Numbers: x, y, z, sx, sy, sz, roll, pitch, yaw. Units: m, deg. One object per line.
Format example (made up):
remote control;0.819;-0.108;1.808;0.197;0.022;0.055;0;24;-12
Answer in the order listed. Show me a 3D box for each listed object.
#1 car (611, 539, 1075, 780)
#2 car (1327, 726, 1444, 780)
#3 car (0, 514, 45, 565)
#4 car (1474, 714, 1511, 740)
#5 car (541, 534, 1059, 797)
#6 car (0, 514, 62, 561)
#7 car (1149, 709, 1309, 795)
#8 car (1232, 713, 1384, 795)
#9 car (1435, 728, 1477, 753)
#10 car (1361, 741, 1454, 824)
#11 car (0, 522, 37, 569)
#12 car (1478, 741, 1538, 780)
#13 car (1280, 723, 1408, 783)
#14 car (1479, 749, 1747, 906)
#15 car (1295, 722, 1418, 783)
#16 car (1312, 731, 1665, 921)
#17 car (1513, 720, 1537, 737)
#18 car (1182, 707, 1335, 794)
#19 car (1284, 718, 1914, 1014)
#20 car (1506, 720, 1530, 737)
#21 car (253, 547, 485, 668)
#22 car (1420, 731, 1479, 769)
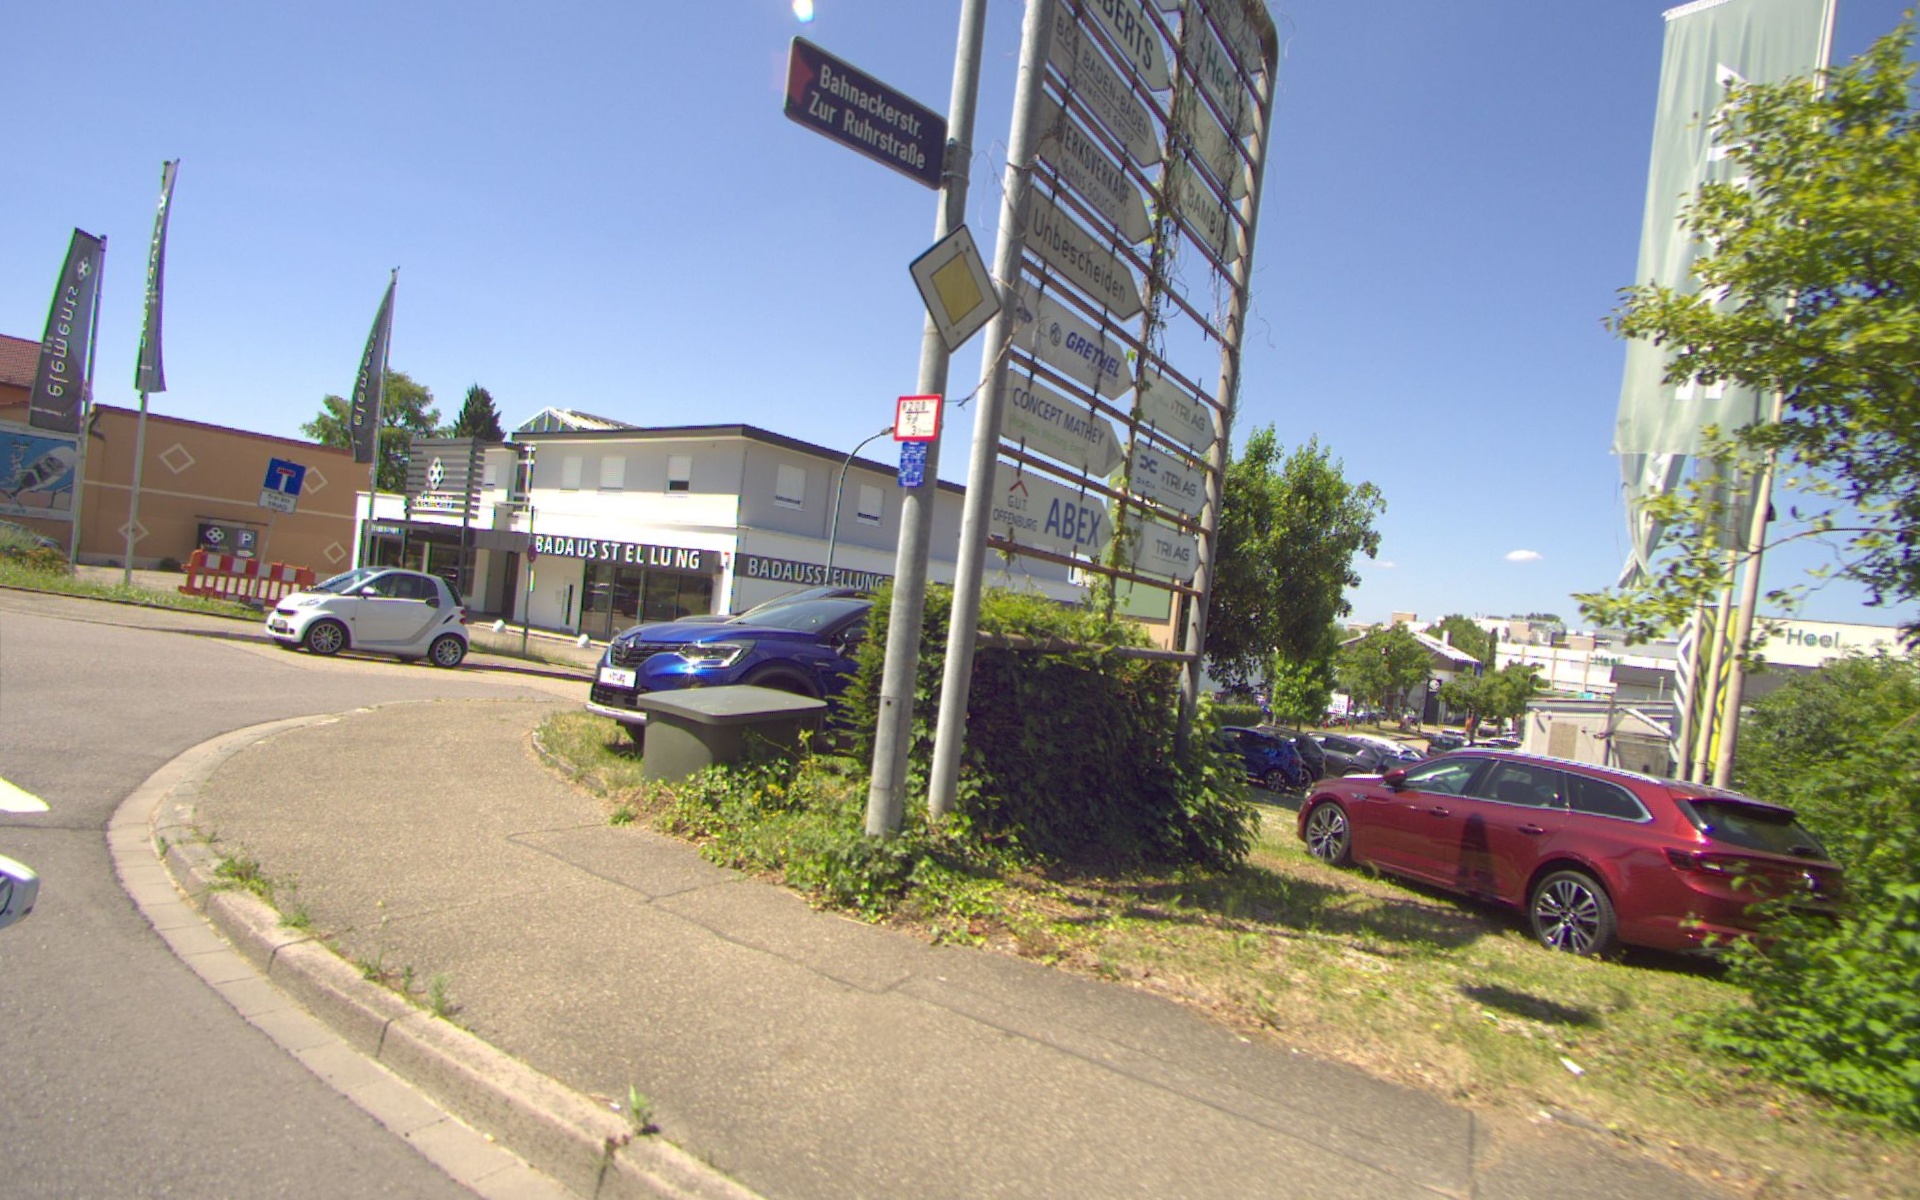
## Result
car;-1.389;0.810;12.625;5.224;1.918;1.985;13;-4;-27
car;17.306;6.211;41.028;3.942;1.404;1.773;7;-1;40
car;-36.300;-2.461;36.405;1.859;1.666;4.277;8;-1;34
car;45.482;10.849;85.826;1.858;1.870;3.986;8;-1;39
car;-1.168;0.677;8.804;1.832;1.527;4.072;4;-9;43
car;-39.803;-2.741;41.184;1.862;1.618;4.256;7;0;39
car;7.407;4.116;27.671;3.927;1.388;1.718;11;-1;22
car;11.322;4.947;32.736;4.331;1.552;1.873;12;-1;25
car;35.735;10.111;72.504;1.739;1.483;3.908;7;-1;39
car;12.309;4.912;27.544;1.862;1.637;3.997;8;-1;29
car;-33.825;-2.060;33.951;1.673;1.433;3.622;8;-1;38
car;28.355;8.269;52.031;1.754;1.653;3.851;7;-1;41
car;14.150;5.607;37.139;3.942;1.404;1.773;7;-1;40
car;10.729;3.685;16.802;3.375;1.524;1.741;12;-1;31
car;15.339;5.863;38.967;3.942;1.541;1.773;7;-1;40
car;7.432;3.100;14.532;4.071;1.507;1.831;11;-2;27
car;69.062;15.732;122.992;1.928;1.737;3.524;8;-1;37
car;8.839;4.387;29.767;4.014;1.552;1.754;12;-1;22
car;5.006;2.038;8.802;1.687;1.375;4.527;12;-5;-16
car;66.120;15.217;119.158;1.928;1.737;3.524;8;-1;37
car;-9.670;0.163;16.599;1.573;1.535;2.771;4;-6;37
car;26.408;8.066;54.191;1.754;1.653;3.851;7;-1;41
